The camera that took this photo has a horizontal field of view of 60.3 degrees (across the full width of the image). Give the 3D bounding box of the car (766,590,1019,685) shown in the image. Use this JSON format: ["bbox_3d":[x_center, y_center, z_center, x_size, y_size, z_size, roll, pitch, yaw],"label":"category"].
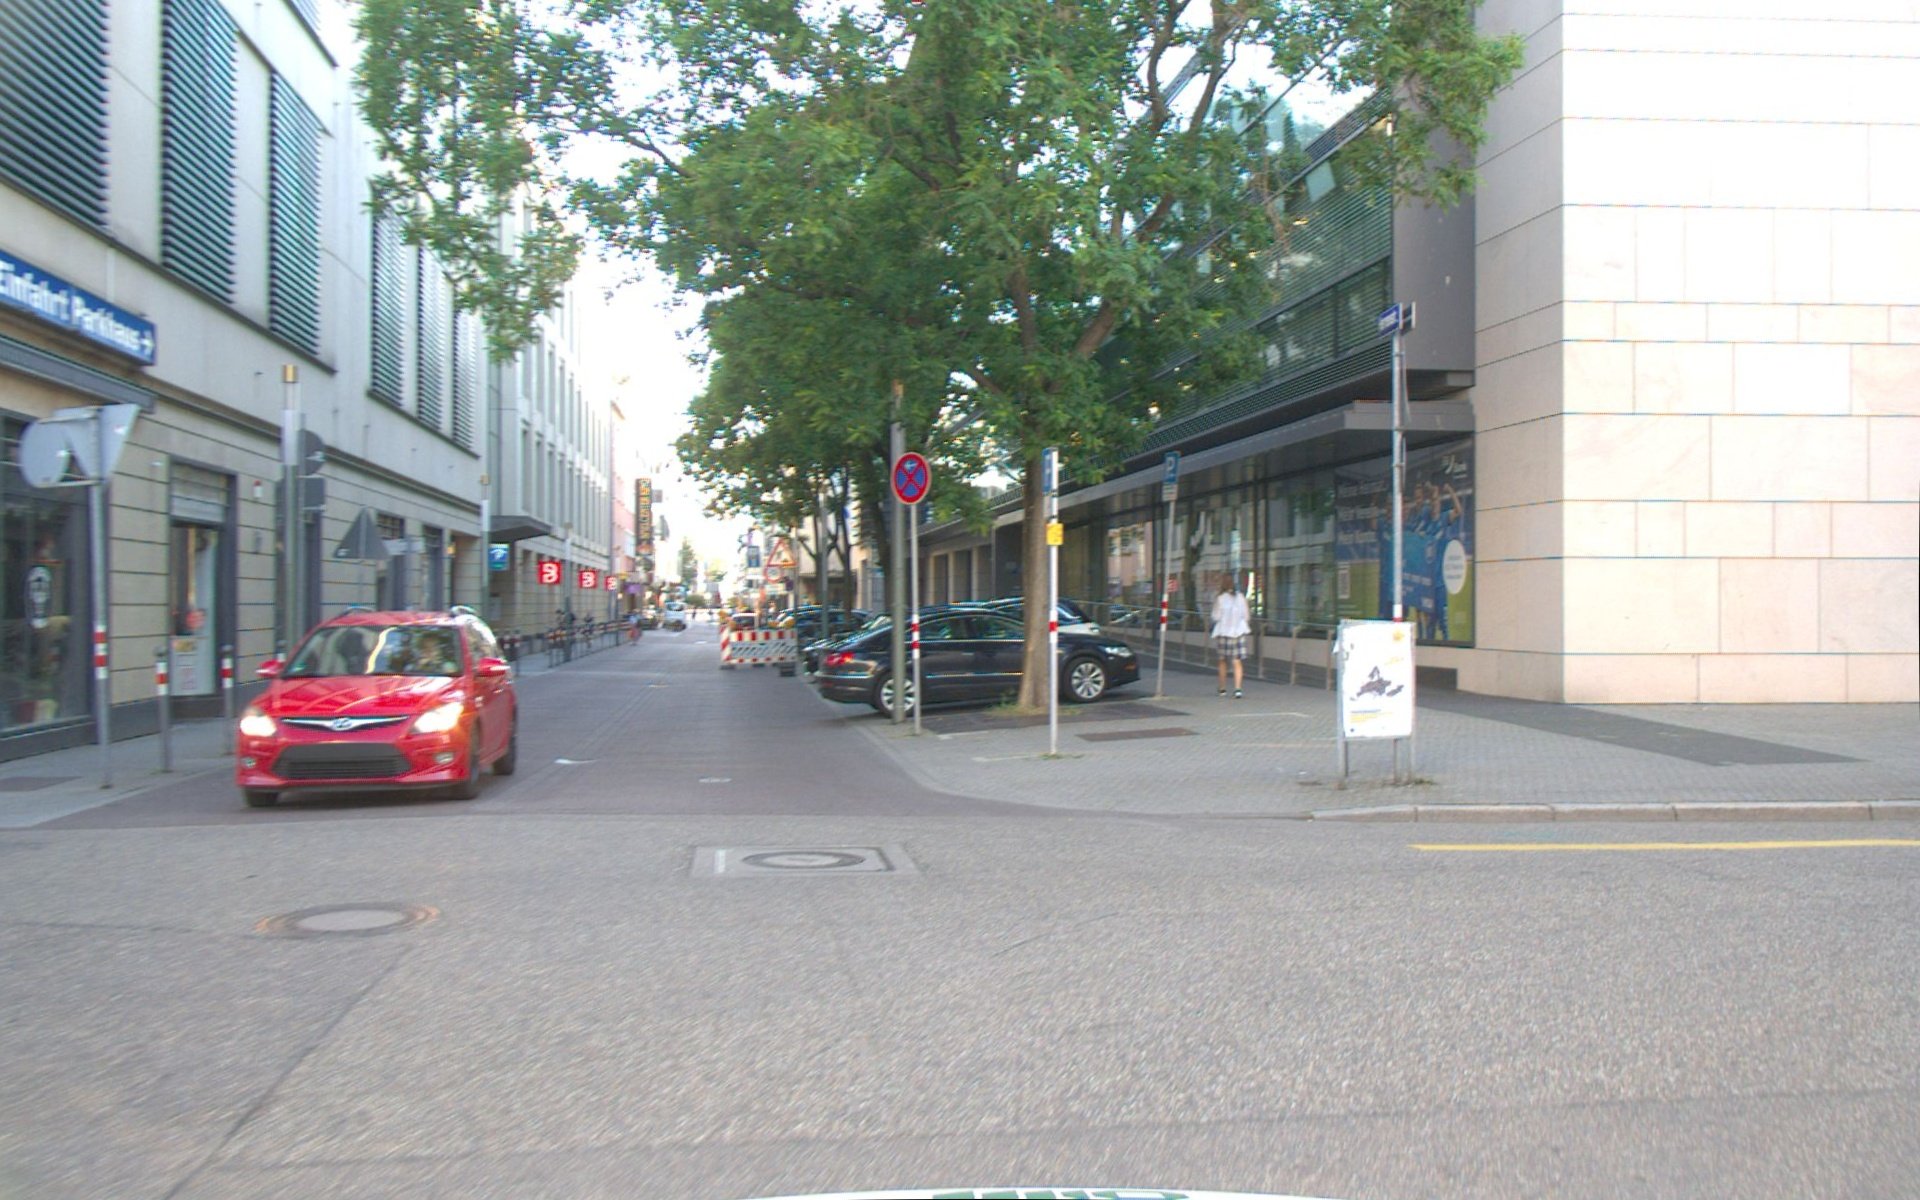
[{"bbox_3d":[-1.430,0.745,33.969,4.915,1.525,1.995,-4,0,-11],"label":"car"}]

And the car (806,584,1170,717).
[{"bbox_3d":[0.344,0.688,23.926,4.915,1.477,1.995,-4,0,-11],"label":"car"}]

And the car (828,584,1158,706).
[{"bbox_3d":[0.480,0.689,26.445,4.915,1.525,1.995,-4,0,-11],"label":"car"}]

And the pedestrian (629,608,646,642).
[{"bbox_3d":[-15.357,1.186,78.775,0.718,1.601,0.635,1,-1,-8],"label":"pedestrian"}]

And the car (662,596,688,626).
[{"bbox_3d":[-23.109,0.885,133.933,1.957,2.370,5.008,2,0,-10],"label":"car"}]

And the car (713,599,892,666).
[{"bbox_3d":[-4.572,0.910,47.614,4.915,1.525,1.995,-4,0,-11],"label":"car"}]

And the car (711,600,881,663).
[{"bbox_3d":[-5.000,0.942,50.120,4.915,1.525,1.995,-4,0,-11],"label":"car"}]

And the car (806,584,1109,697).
[{"bbox_3d":[-0.096,0.681,28.657,4.915,1.525,1.995,-4,0,-11],"label":"car"}]

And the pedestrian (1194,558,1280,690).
[{"bbox_3d":[3.793,0.330,22.707,0.888,1.735,0.833,-3,-1,-7],"label":"pedestrian"}]

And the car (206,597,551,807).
[{"bbox_3d":[-4.695,0.795,14.015,1.787,1.491,4.258,0,-2,-6],"label":"car"}]
